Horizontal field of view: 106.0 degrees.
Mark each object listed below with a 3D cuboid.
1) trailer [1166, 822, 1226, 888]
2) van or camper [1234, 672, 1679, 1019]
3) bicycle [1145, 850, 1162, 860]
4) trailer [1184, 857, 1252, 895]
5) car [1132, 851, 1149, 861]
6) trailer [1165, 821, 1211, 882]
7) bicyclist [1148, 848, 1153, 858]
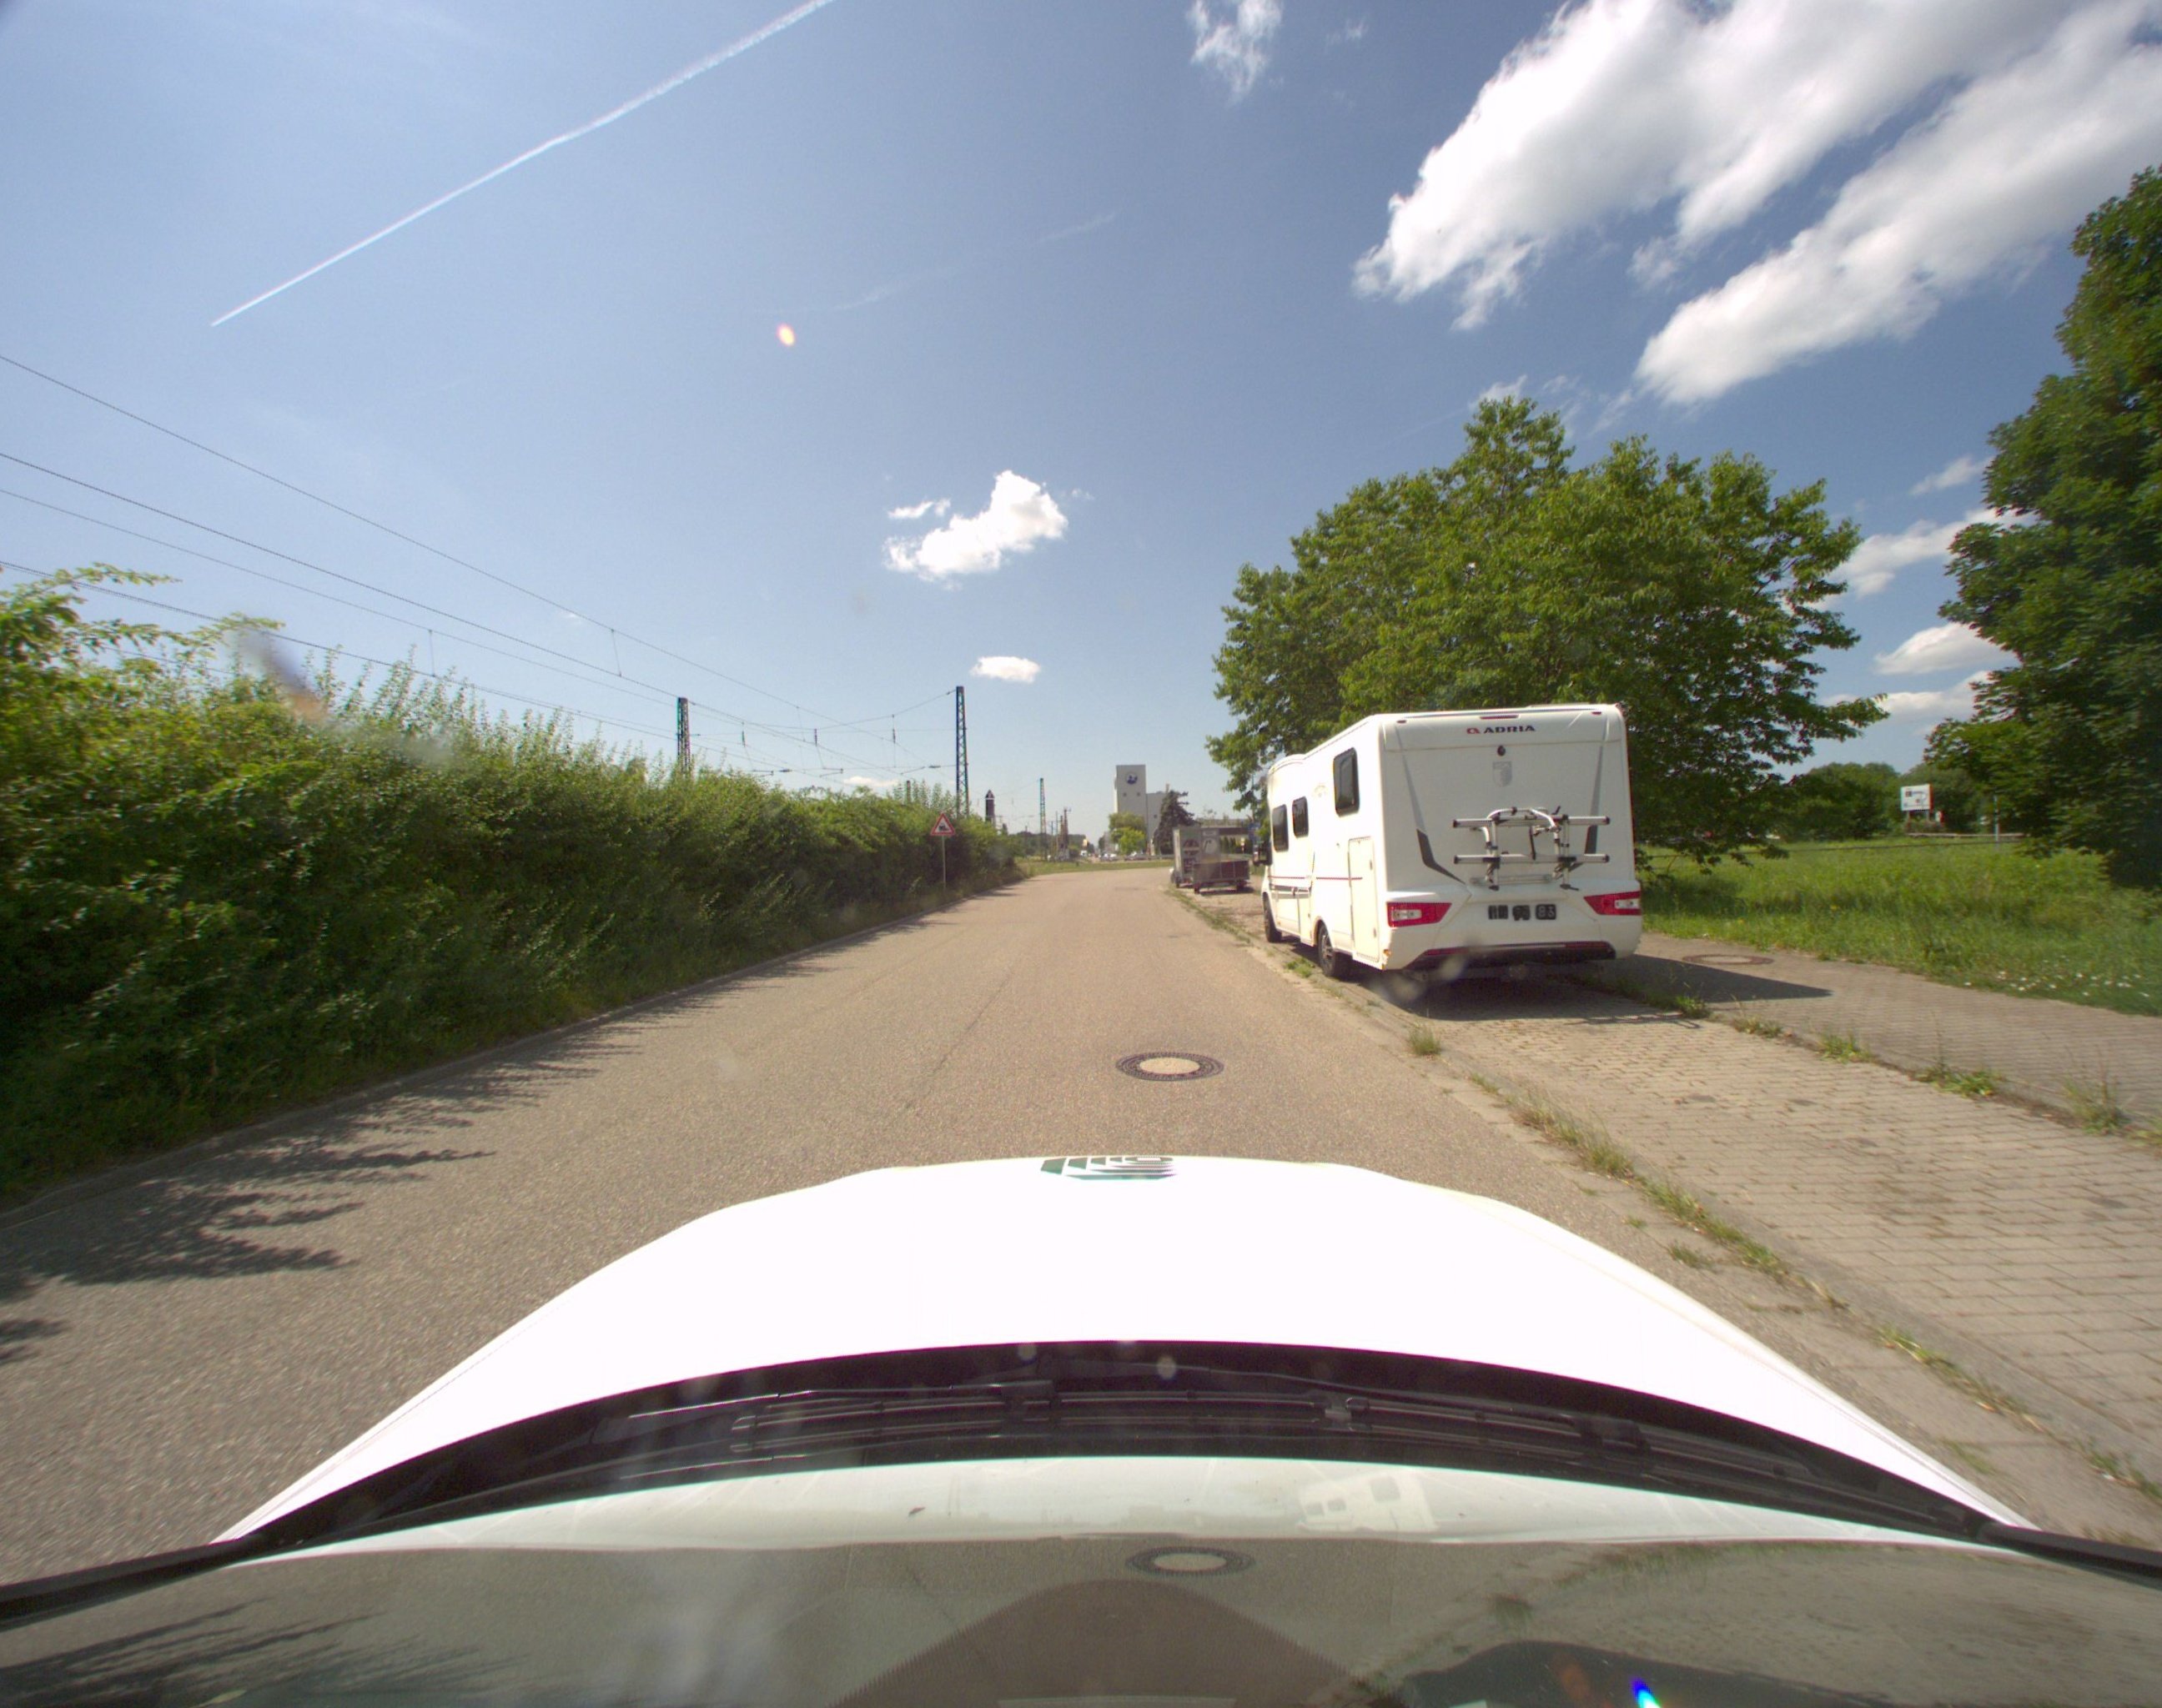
[{"bbox_3d":[4.848,0.035,34.874,1.911,2.508,4.743,-4,0,2],"label":"trailer"},{"bbox_3d":[3.905,-0.079,10.740,2.430,2.826,7.626,-3,0,2],"label":"van or camper"},{"bbox_3d":[9.707,0.135,108.795,2.119,1.164,0.665,-1,0,31],"label":"bicycle"},{"bbox_3d":[4.852,0.740,29.412,1.995,1.123,4.494,-4,-1,5],"label":"trailer"},{"bbox_3d":[9.671,0.368,132.788,1.990,1.510,4.448,-2,0,-4],"label":"car"},{"bbox_3d":[5.249,-0.140,40.045,1.922,2.644,5.195,-4,0,8],"label":"trailer"},{"bbox_3d":[9.341,-0.153,109.019,0.505,1.255,0.472,-1,0,31],"label":"bicyclist"}]
